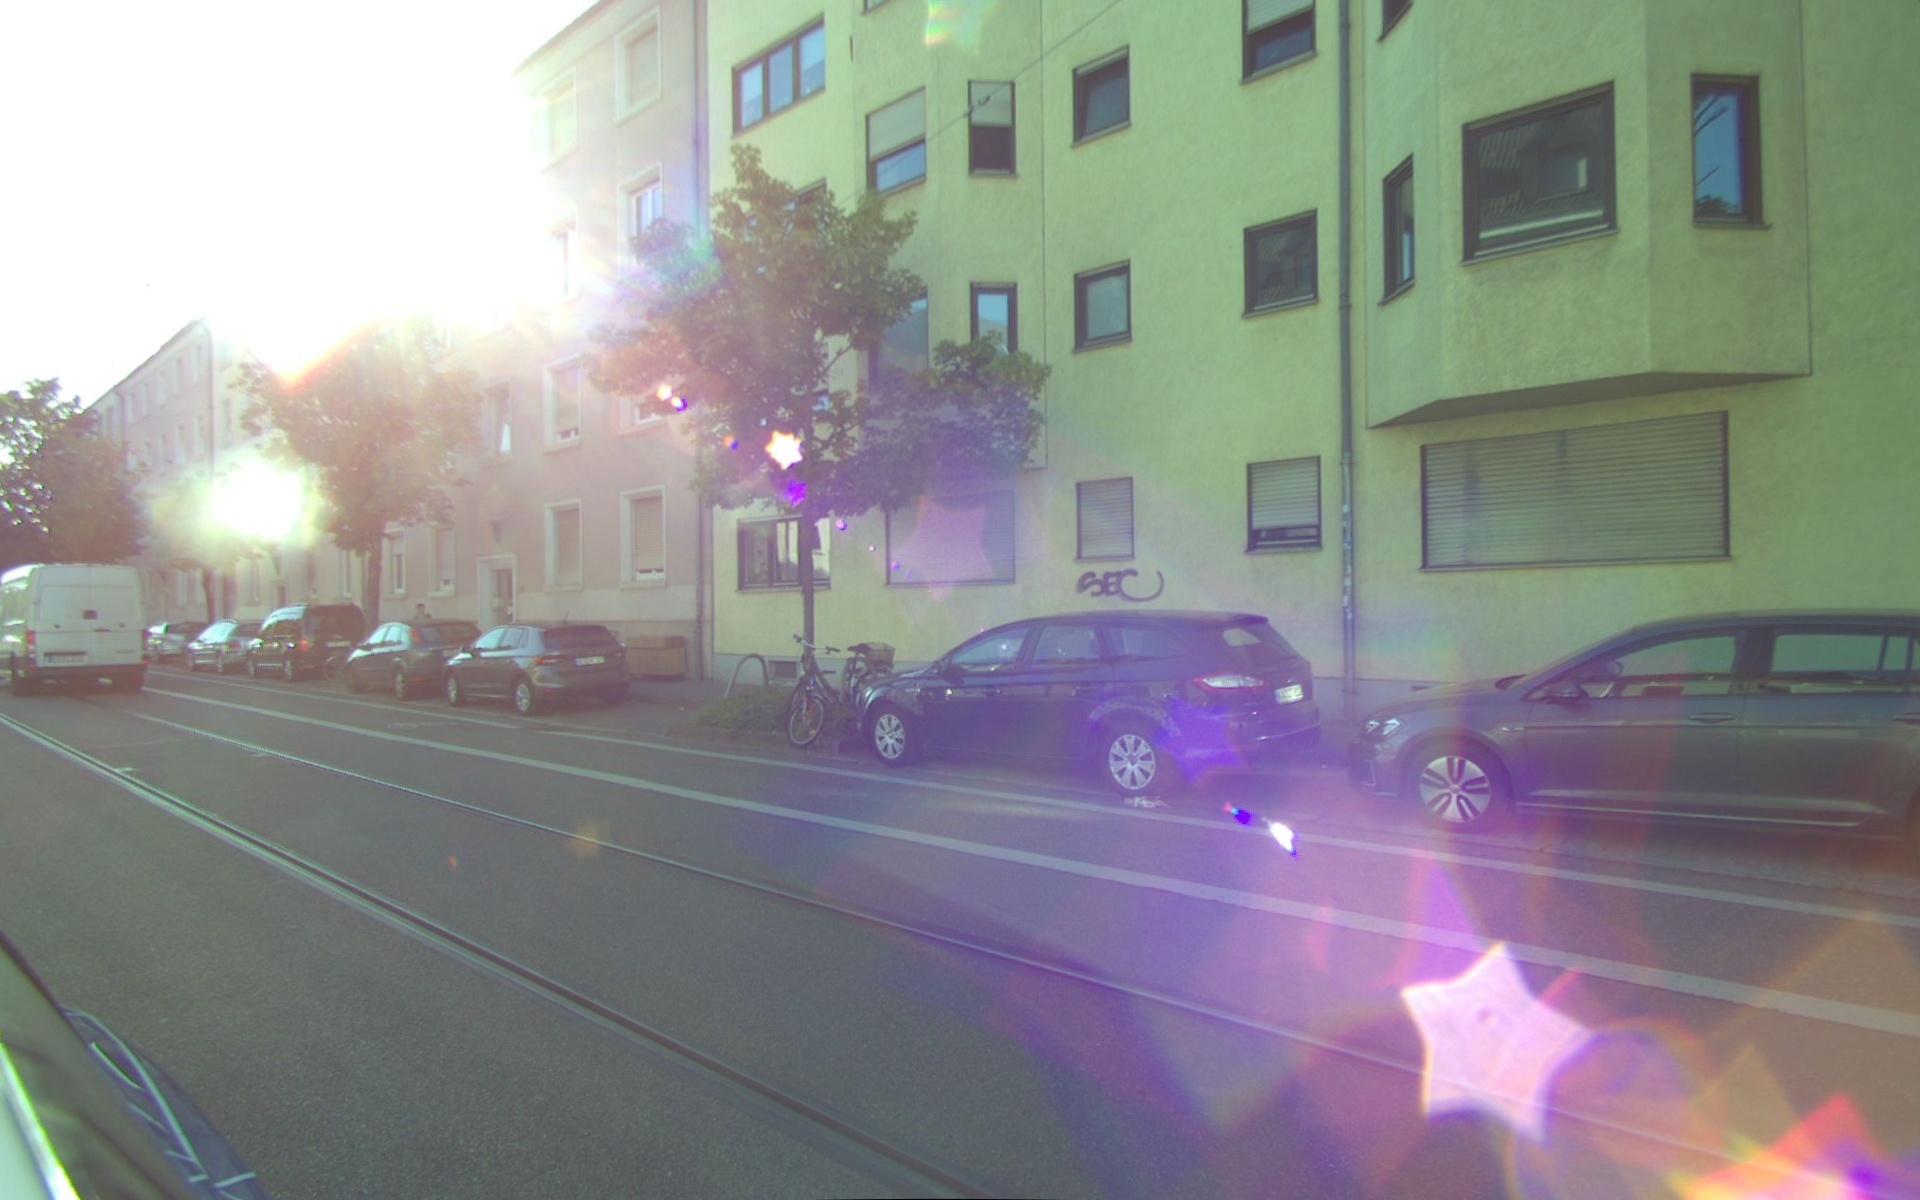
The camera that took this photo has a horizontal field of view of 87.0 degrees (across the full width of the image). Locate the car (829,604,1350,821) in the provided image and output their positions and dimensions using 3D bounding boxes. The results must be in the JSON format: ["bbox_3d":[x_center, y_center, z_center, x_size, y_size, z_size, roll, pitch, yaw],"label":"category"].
[{"bbox_3d":[0.972,0.859,9.548,4.733,1.554,1.746,-2,-1,43],"label":"car"}]

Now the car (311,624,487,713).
[{"bbox_3d":[-11.275,1.285,20.218,4.179,1.484,1.747,-1,2,42],"label":"car"}]

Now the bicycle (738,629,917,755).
[{"bbox_3d":[-1.568,1.062,12.394,0.699,1.344,2.269,-2,-1,41],"label":"bicycle"}]

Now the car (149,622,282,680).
[{"bbox_3d":[-21.213,1.406,28.755,4.850,1.484,1.749,-2,0,37],"label":"car"}]

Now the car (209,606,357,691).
[{"bbox_3d":[-16.946,1.153,25.255,4.418,1.859,1.748,-2,2,39],"label":"car"}]

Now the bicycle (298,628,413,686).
[{"bbox_3d":[-13.733,1.270,23.042,0.745,1.113,2.091,-2,2,39],"label":"bicycle"}]

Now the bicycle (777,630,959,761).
[{"bbox_3d":[-1.024,1.053,11.904,0.699,1.344,2.269,-2,-1,41],"label":"bicycle"}]

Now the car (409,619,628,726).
[{"bbox_3d":[-7.528,1.139,17.101,4.039,1.484,1.747,-2,2,41],"label":"car"}]

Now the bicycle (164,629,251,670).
[{"bbox_3d":[-24.117,1.562,32.455,0.659,1.151,2.124,-2,0,37],"label":"bicycle"}]

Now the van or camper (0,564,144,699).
[{"bbox_3d":[-20.234,0.661,22.152,6.827,2.572,2.346,-2,-1,39],"label":"van or camper"}]

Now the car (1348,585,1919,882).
[{"bbox_3d":[4.882,0.715,6.509,4.123,1.554,1.719,-1,-1,38],"label":"car"}]
